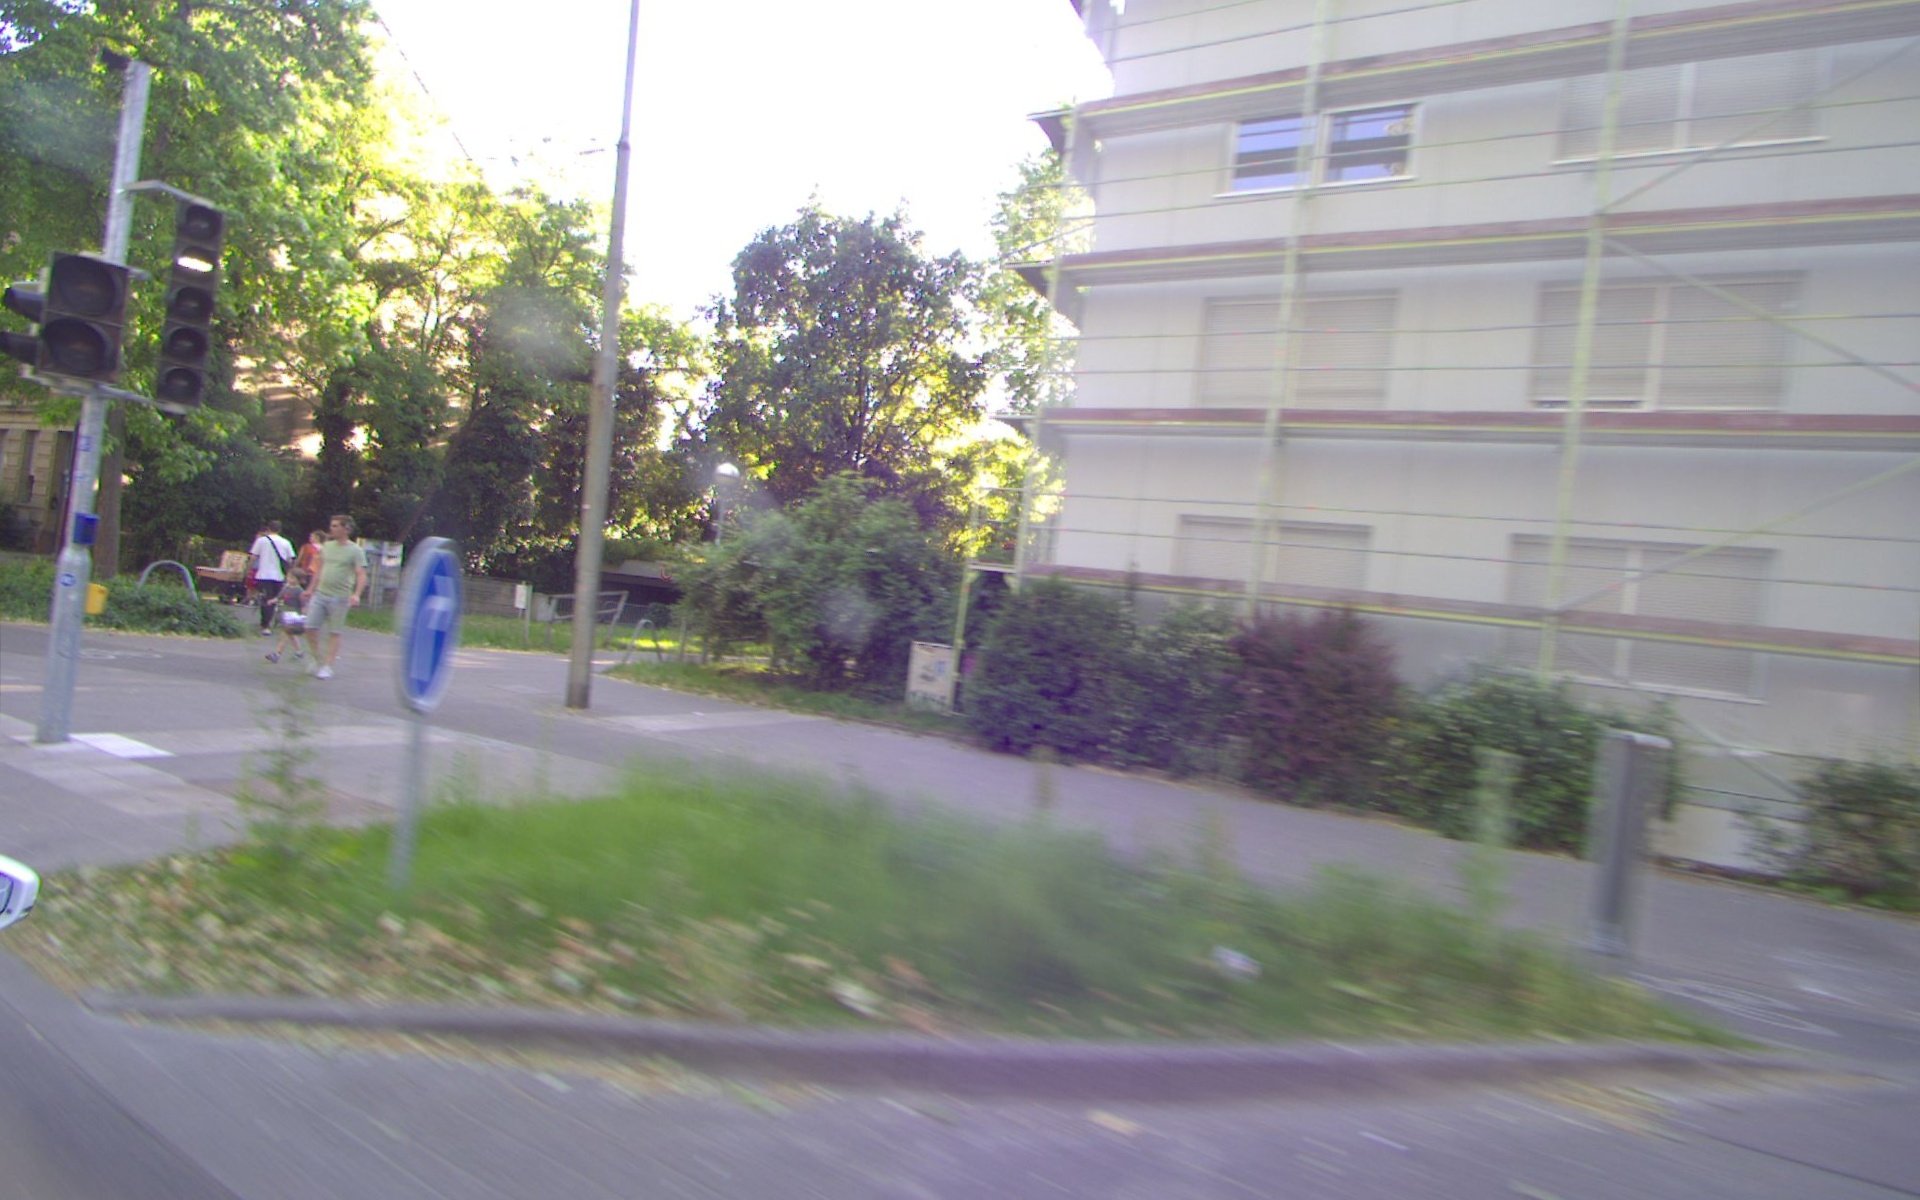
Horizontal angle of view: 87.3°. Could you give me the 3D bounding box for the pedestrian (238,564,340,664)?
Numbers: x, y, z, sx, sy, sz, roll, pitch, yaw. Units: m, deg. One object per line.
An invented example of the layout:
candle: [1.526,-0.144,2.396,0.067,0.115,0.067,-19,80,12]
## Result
pedestrian: [-8.325,0.187,12.501,0.647,1.131,0.677,7,-2,9]

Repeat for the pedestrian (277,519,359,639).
pedestrian: [-10.358,-0.343,16.232,0.954,1.815,0.725,7,1,39]

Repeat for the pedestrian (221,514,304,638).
pedestrian: [-10.884,-0.372,15.702,0.841,1.815,0.725,7,1,39]

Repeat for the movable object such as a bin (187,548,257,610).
movable object such as a bin: [-15.482,-0.435,21.108,0.939,1.139,0.668,7,-2,21]

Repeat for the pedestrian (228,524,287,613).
pedestrian: [-14.668,-0.645,21.016,0.543,1.745,0.620,7,-2,13]

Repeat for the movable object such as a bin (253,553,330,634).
movable object such as a bin: [-11.216,-0.117,16.867,1.286,1.217,0.638,6,1,39]

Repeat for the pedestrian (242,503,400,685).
pedestrian: [-7.276,-0.045,11.499,0.979,1.906,0.871,7,-2,11]
